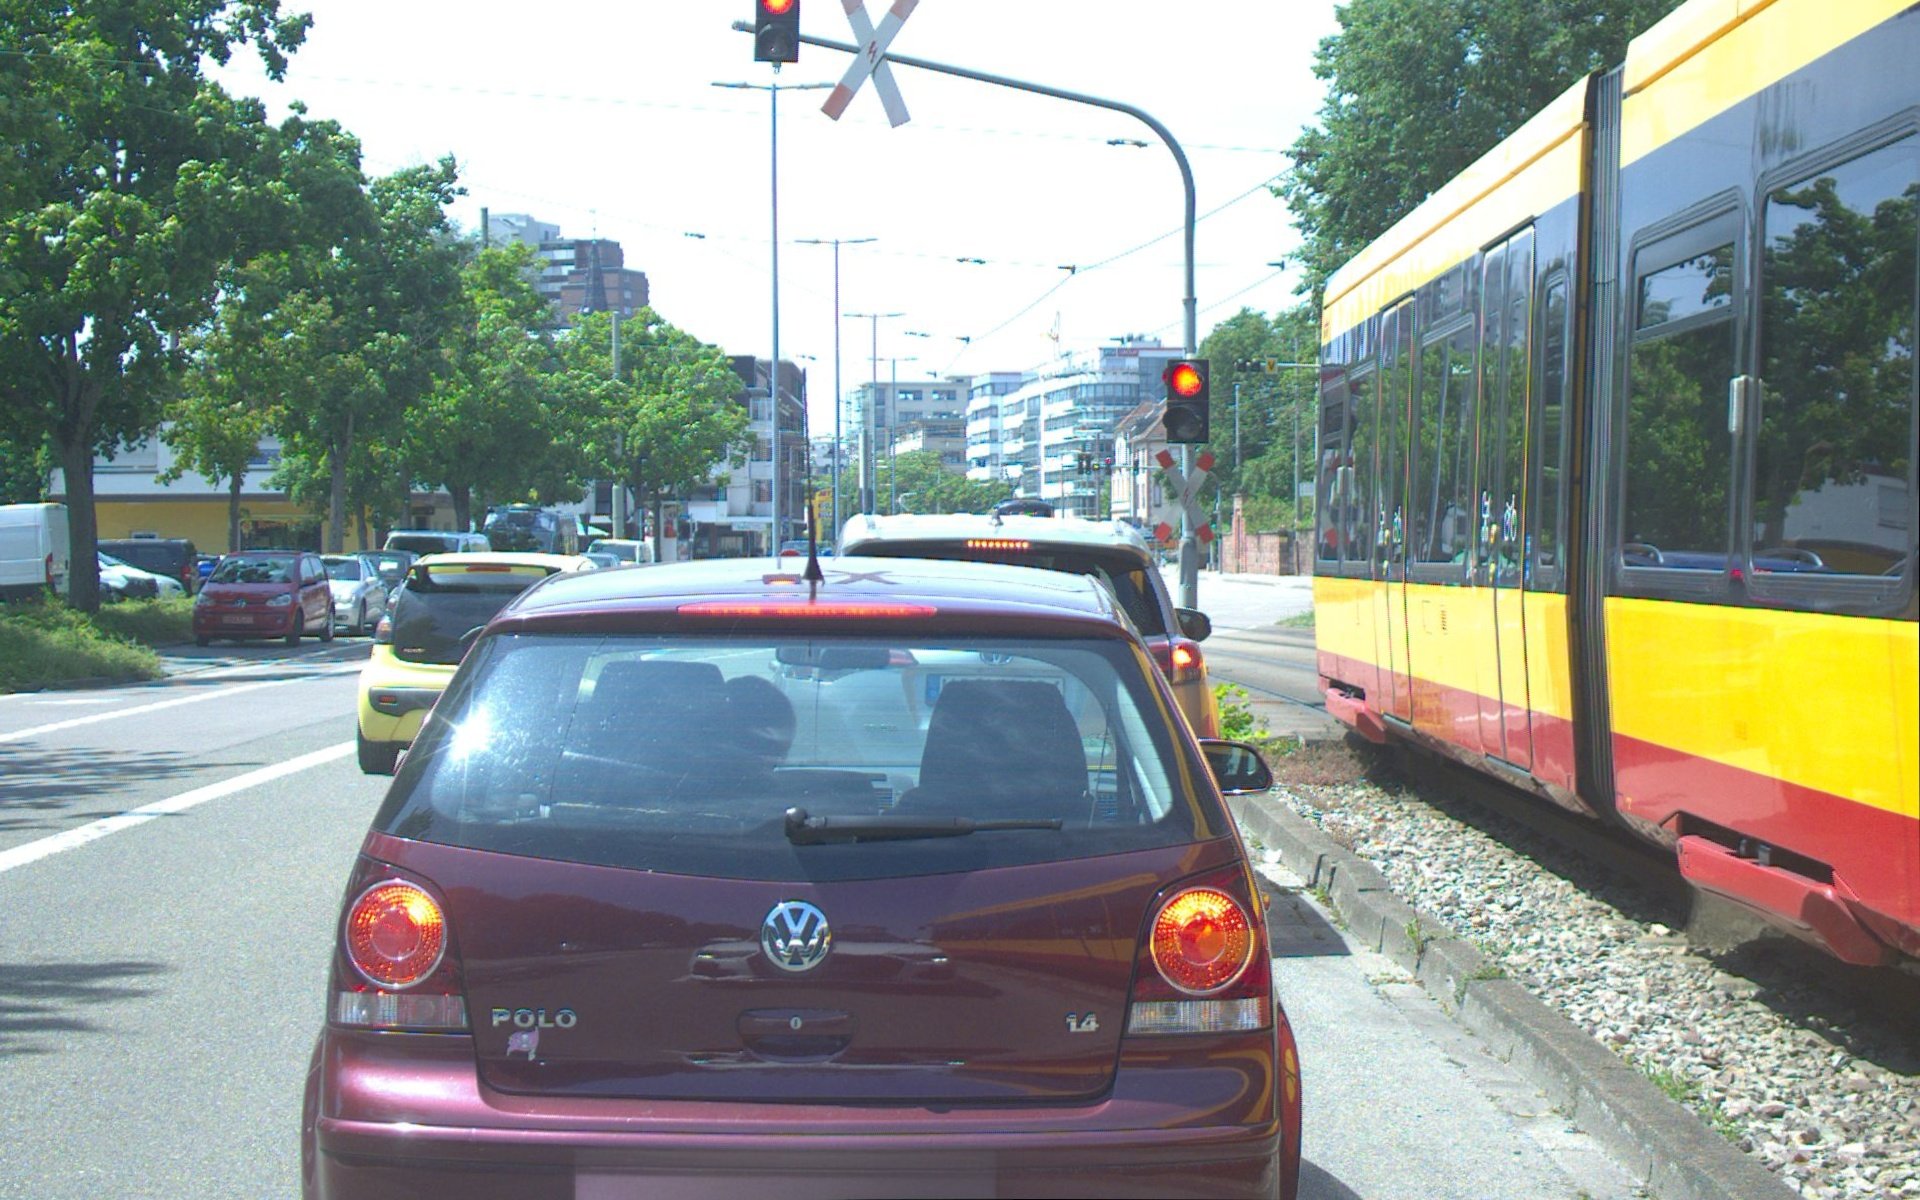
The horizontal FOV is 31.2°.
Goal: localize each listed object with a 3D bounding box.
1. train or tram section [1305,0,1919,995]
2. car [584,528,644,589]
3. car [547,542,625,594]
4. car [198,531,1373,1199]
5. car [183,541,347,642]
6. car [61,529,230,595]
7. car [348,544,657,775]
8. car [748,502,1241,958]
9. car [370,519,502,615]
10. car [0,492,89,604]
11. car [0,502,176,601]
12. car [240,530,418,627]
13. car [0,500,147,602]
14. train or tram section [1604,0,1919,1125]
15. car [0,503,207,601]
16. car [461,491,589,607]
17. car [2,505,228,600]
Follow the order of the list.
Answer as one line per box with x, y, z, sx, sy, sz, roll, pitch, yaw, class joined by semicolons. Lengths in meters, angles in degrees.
3.754;-0.494;17.743;2.741;3.597;10.950;2;1;0;train or tram section
-10.827;-1.277;107.515;1.774;1.822;4.001;2;0;-6;car
-11.022;-0.937;101.414;1.614;1.436;4.000;2;0;3;car
-0.297;0.634;6.937;1.672;1.516;4.000;1;1;-1;car
-10.951;-0.136;54.407;1.663;1.491;4.000;2;0;1;car
-21.705;-1.007;91.743;4.020;1.611;1.816;2;0;1;car
-3.038;0.348;23.419;1.690;1.406;3.516;1;1;-1;car
0.080;0.438;14.649;1.777;1.641;4.000;1;1;-1;car
-10.802;-0.666;71.192;1.783;1.875;4.785;2;0;2;car
-20.879;-1.118;70.980;5.097;2.237;2.378;2;0;1;car
-21.610;-1.171;82.266;5.097;2.237;2.378;2;0;1;car
-11.128;-0.383;60.954;1.976;1.595;4.557;2;0;4;car
-21.565;-1.152;79.078;5.097;2.237;2.378;2;0;1;car
3.784;-0.438;7.100;2.741;3.597;10.950;2;1;0;train or tram section
-21.411;-1.178;84.739;5.097;2.237;2.378;2;0;1;car
-10.614;-1.217;84.230;2.361;2.683;5.307;2;0;0;car
-21.430;-1.193;87.355;5.097;2.237;2.378;2;0;1;car
